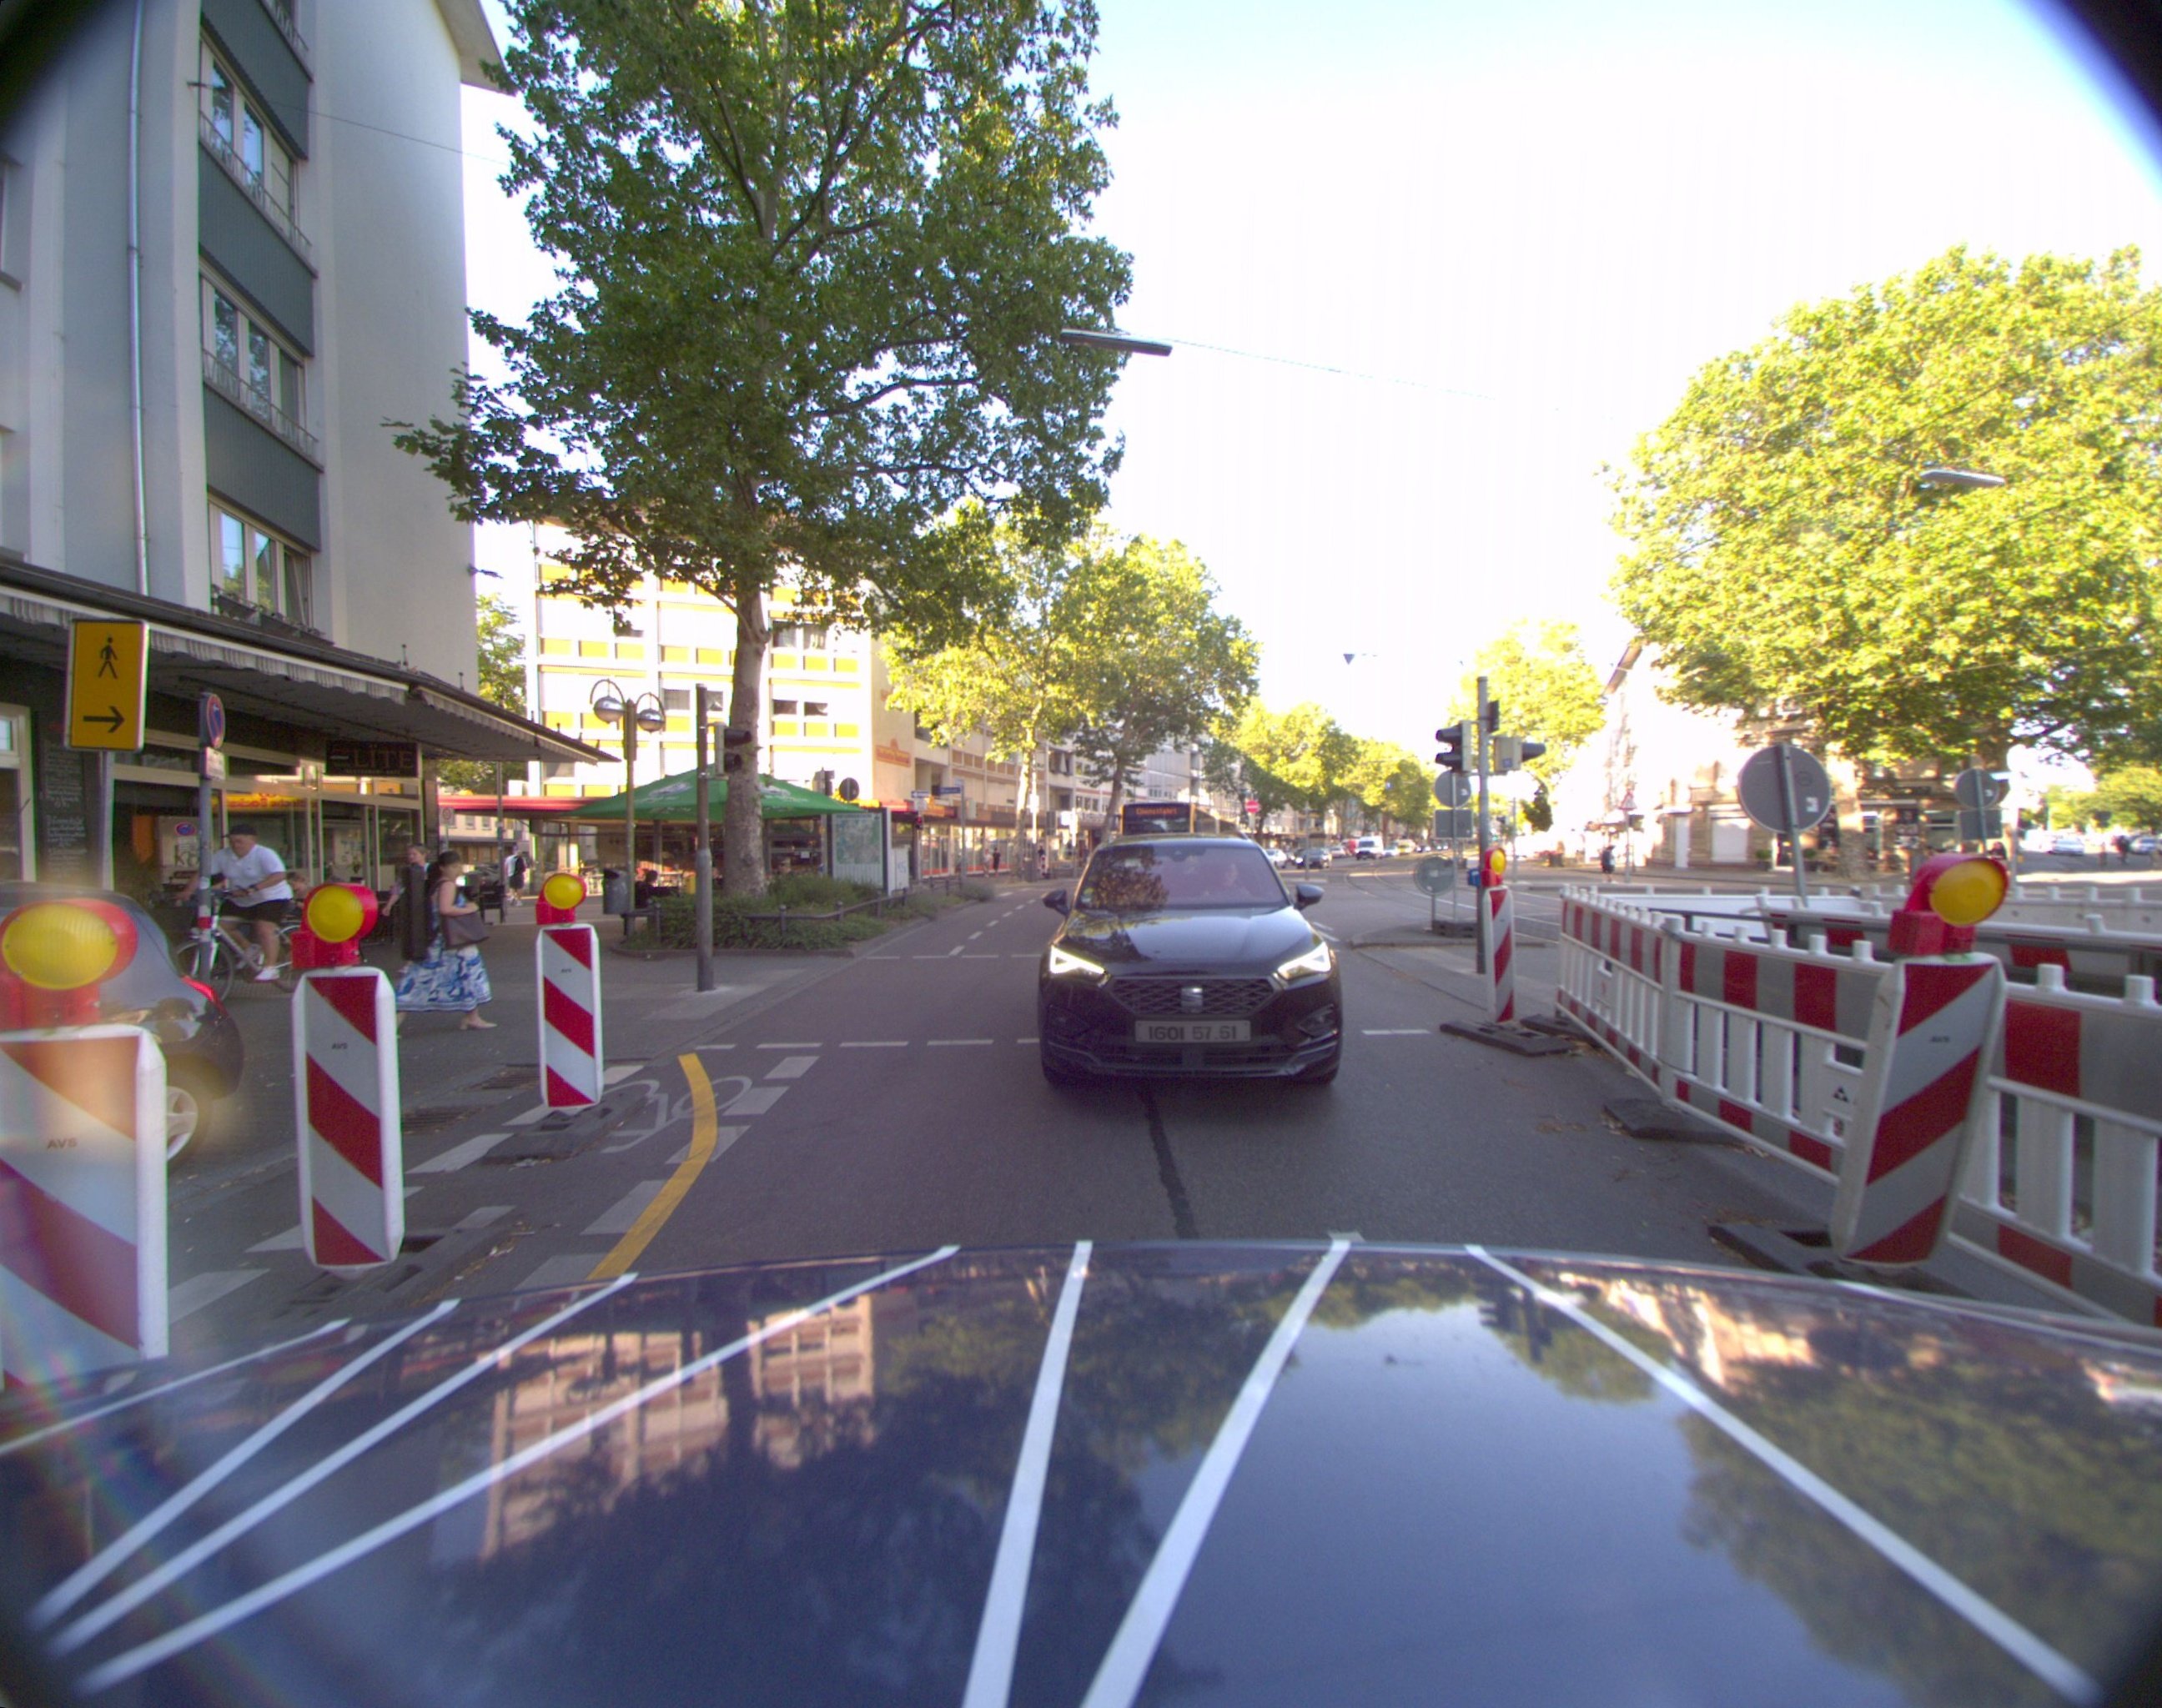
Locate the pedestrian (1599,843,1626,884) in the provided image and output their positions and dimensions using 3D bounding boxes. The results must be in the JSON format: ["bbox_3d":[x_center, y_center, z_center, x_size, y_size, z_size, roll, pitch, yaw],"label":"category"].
[{"bbox_3d":[20.369,0.363,29.128,0.603,1.524,0.745,0,1,12],"label":"pedestrian"}]

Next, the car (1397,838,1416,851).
[{"bbox_3d":[46.555,-1.393,108.640,1.836,1.792,4.138,0,1,31],"label":"car"}]

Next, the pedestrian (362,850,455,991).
[{"bbox_3d":[-8.091,0.773,9.163,0.629,1.628,0.531,-1,1,-15],"label":"pedestrian"}]

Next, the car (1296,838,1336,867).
[{"bbox_3d":[16.662,-0.117,53.706,1.995,2.002,4.007,0,1,27],"label":"car"}]

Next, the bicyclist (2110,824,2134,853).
[{"bbox_3d":[63.584,-0.938,46.412,0.766,1.718,0.672,-1,1,-23],"label":"bicyclist"}]

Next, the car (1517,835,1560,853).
[{"bbox_3d":[52.551,-1.137,87.300,4.001,2.002,1.997,-1,1,-13],"label":"car"}]

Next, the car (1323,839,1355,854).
[{"bbox_3d":[36.634,-1.054,108.048,3.994,2.002,2.001,-1,1,8],"label":"car"}]

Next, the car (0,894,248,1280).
[{"bbox_3d":[-5.192,0.966,2.133,1.771,1.459,3.610,2,1,-2],"label":"car"}]

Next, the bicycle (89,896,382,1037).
[{"bbox_3d":[-8.297,1.042,7.611,0.751,1.123,1.887,1,0,4],"label":"bicycle"}]

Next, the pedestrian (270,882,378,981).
[{"bbox_3d":[-9.859,0.980,9.904,0.877,1.186,0.701,0,1,24],"label":"pedestrian"}]

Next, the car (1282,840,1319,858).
[{"bbox_3d":[24.733,-0.608,85.524,3.991,2.002,2.002,0,1,18],"label":"car"}]

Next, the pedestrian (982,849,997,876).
[{"bbox_3d":[-5.021,0.453,41.612,0.627,1.429,0.532,0,1,20],"label":"pedestrian"}]

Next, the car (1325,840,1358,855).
[{"bbox_3d":[35.491,-0.847,103.646,3.994,2.002,2.001,-1,1,8],"label":"car"}]

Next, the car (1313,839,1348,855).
[{"bbox_3d":[32.442,-0.886,98.884,3.994,2.002,2.001,0,1,8],"label":"car"}]

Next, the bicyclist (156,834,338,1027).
[{"bbox_3d":[-8.313,0.710,7.624,0.753,1.816,0.926,1,2,4],"label":"bicyclist"}]

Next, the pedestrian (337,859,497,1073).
[{"bbox_3d":[-5.447,0.874,6.285,0.583,1.637,0.796,-1,1,-1],"label":"pedestrian"}]

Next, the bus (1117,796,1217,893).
[{"bbox_3d":[3.537,-0.352,28.888,2.718,3.088,8.629,0,1,13],"label":"bus"}]

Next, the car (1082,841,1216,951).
[{"bbox_3d":[1.054,0.607,13.464,1.998,1.634,4.075,-1,1,1],"label":"car"}]

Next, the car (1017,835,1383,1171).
[{"bbox_3d":[0.635,0.738,5.845,1.841,1.696,4.000,-1,1,1],"label":"car"}]

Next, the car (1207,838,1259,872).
[{"bbox_3d":[9.338,0.036,46.473,1.995,2.002,4.105,0,1,29],"label":"car"}]

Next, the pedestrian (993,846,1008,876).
[{"bbox_3d":[-4.402,0.382,41.407,0.627,1.577,0.532,0,1,20],"label":"pedestrian"}]

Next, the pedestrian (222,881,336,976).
[{"bbox_3d":[-10.726,0.979,10.184,0.647,1.186,0.792,0,1,7],"label":"pedestrian"}]

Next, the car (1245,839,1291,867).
[{"bbox_3d":[13.670,-0.088,55.438,1.994,2.002,4.008,0,1,33],"label":"car"}]

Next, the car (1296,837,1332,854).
[{"bbox_3d":[28.533,-1.062,93.260,3.994,2.002,2.001,-1,1,8],"label":"car"}]

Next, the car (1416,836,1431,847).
[{"bbox_3d":[59.070,-2.124,130.944,1.836,1.792,4.138,0,1,31],"label":"car"}]

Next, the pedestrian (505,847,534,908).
[{"bbox_3d":[-18.365,0.761,24.849,0.650,1.948,0.887,-2,2,-43],"label":"pedestrian"}]

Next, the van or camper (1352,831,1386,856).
[{"bbox_3d":[32.192,-1.129,84.839,2.420,2.702,6.144,0,1,32],"label":"van or camper"}]

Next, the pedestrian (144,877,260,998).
[{"bbox_3d":[-10.212,0.935,8.838,0.789,1.299,0.701,0,1,28],"label":"pedestrian"}]

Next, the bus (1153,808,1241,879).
[{"bbox_3d":[5.888,-0.508,37.232,2.717,3.088,8.608,0,1,19],"label":"bus"}]

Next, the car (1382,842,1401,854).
[{"bbox_3d":[39.316,-0.811,96.083,1.700,1.462,3.771,0,1,31],"label":"car"}]

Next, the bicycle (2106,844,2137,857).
[{"bbox_3d":[63.548,-0.215,46.412,1.993,0.777,0.680,-1,1,-23],"label":"bicycle"}]
